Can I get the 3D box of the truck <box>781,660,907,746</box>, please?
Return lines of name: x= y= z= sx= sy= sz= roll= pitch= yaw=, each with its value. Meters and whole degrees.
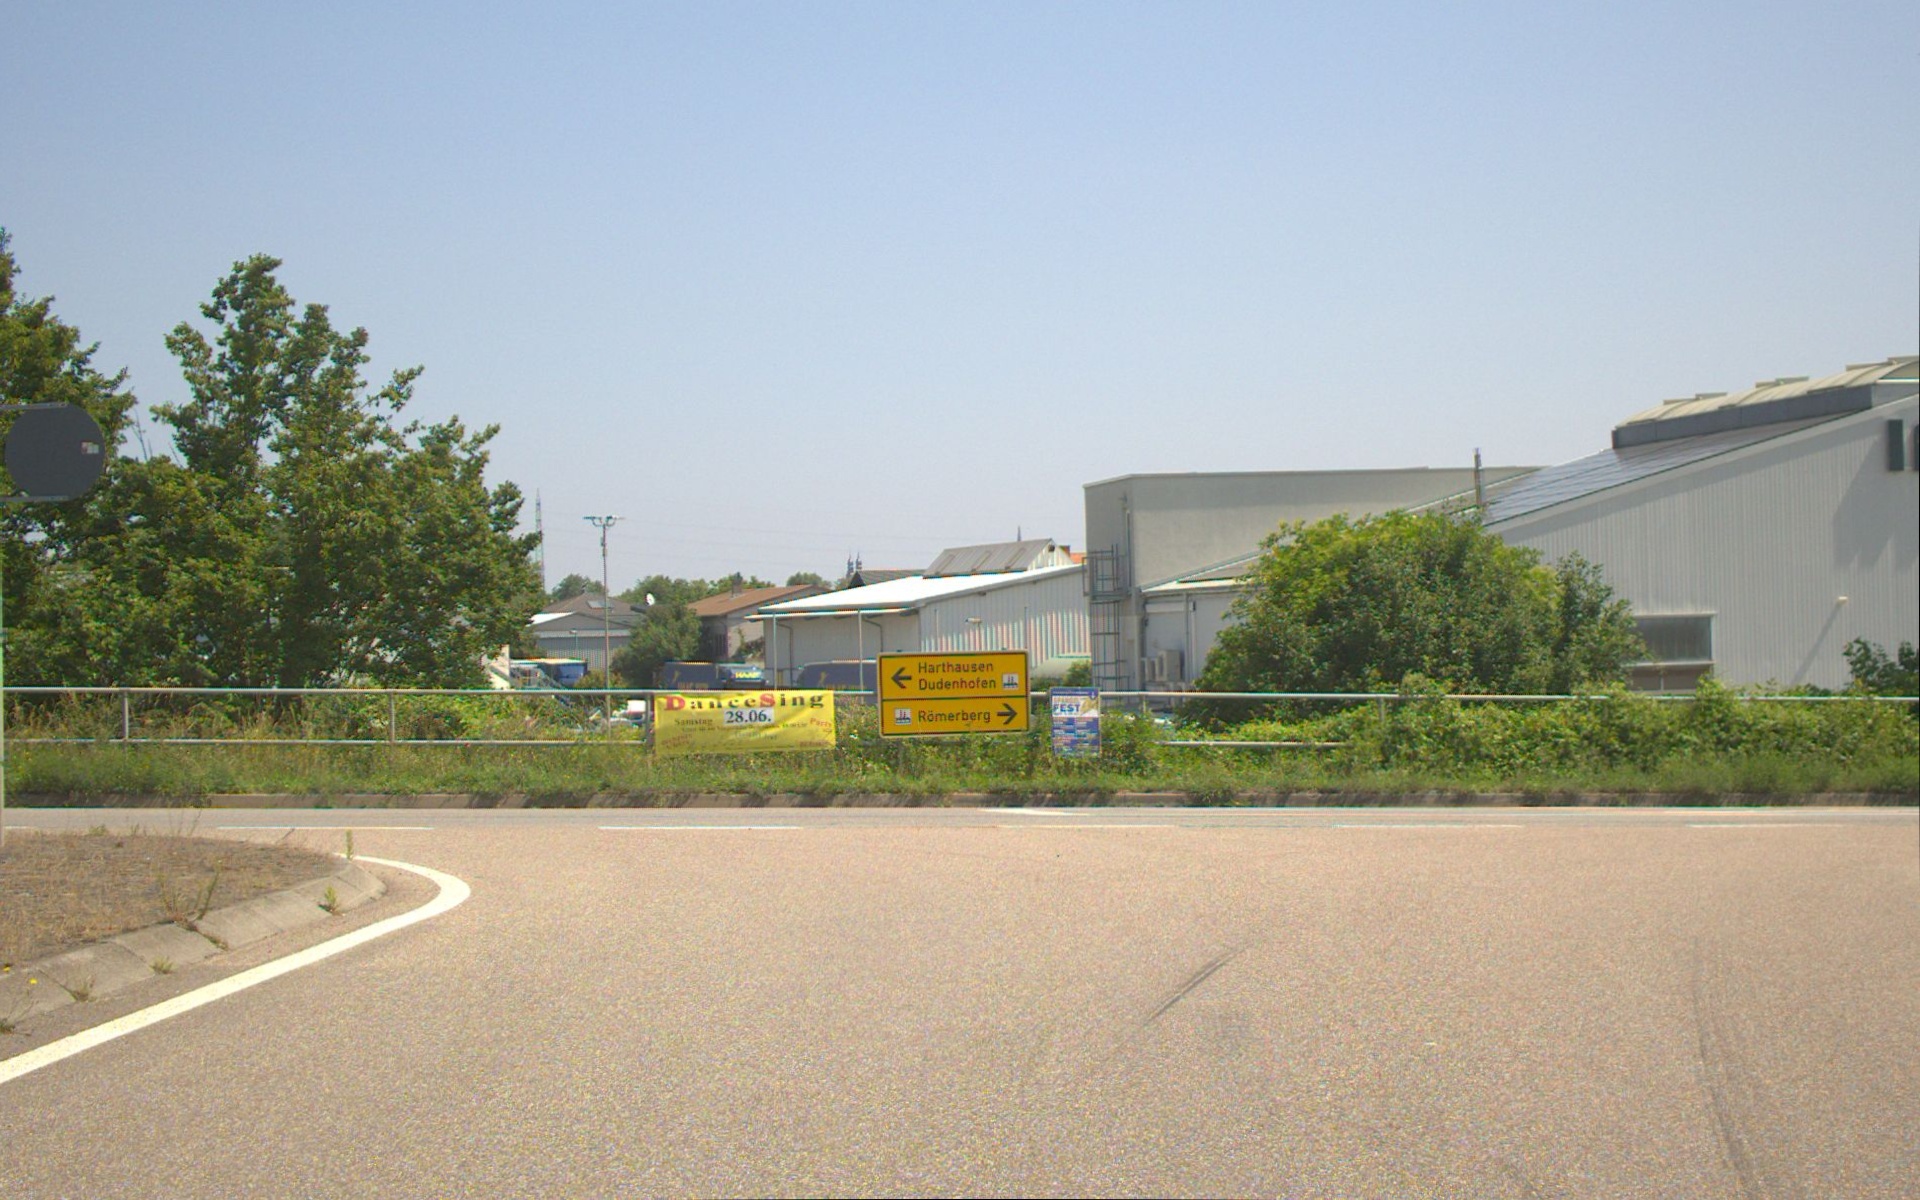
truck: x=-6.097 y=5.289 z=177.634 sx=3.707 sy=4.296 sz=13.344 roll=0 pitch=-1 yaw=-14

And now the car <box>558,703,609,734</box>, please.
car: x=-21.393 y=6.726 z=195.112 sx=1.993 sy=1.725 sz=4.864 roll=1 pitch=-2 yaw=-17

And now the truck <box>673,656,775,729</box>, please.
truck: x=-14.598 y=5.649 z=211.130 sx=3.410 sy=4.296 sz=14.596 roll=0 pitch=-1 yaw=-15
